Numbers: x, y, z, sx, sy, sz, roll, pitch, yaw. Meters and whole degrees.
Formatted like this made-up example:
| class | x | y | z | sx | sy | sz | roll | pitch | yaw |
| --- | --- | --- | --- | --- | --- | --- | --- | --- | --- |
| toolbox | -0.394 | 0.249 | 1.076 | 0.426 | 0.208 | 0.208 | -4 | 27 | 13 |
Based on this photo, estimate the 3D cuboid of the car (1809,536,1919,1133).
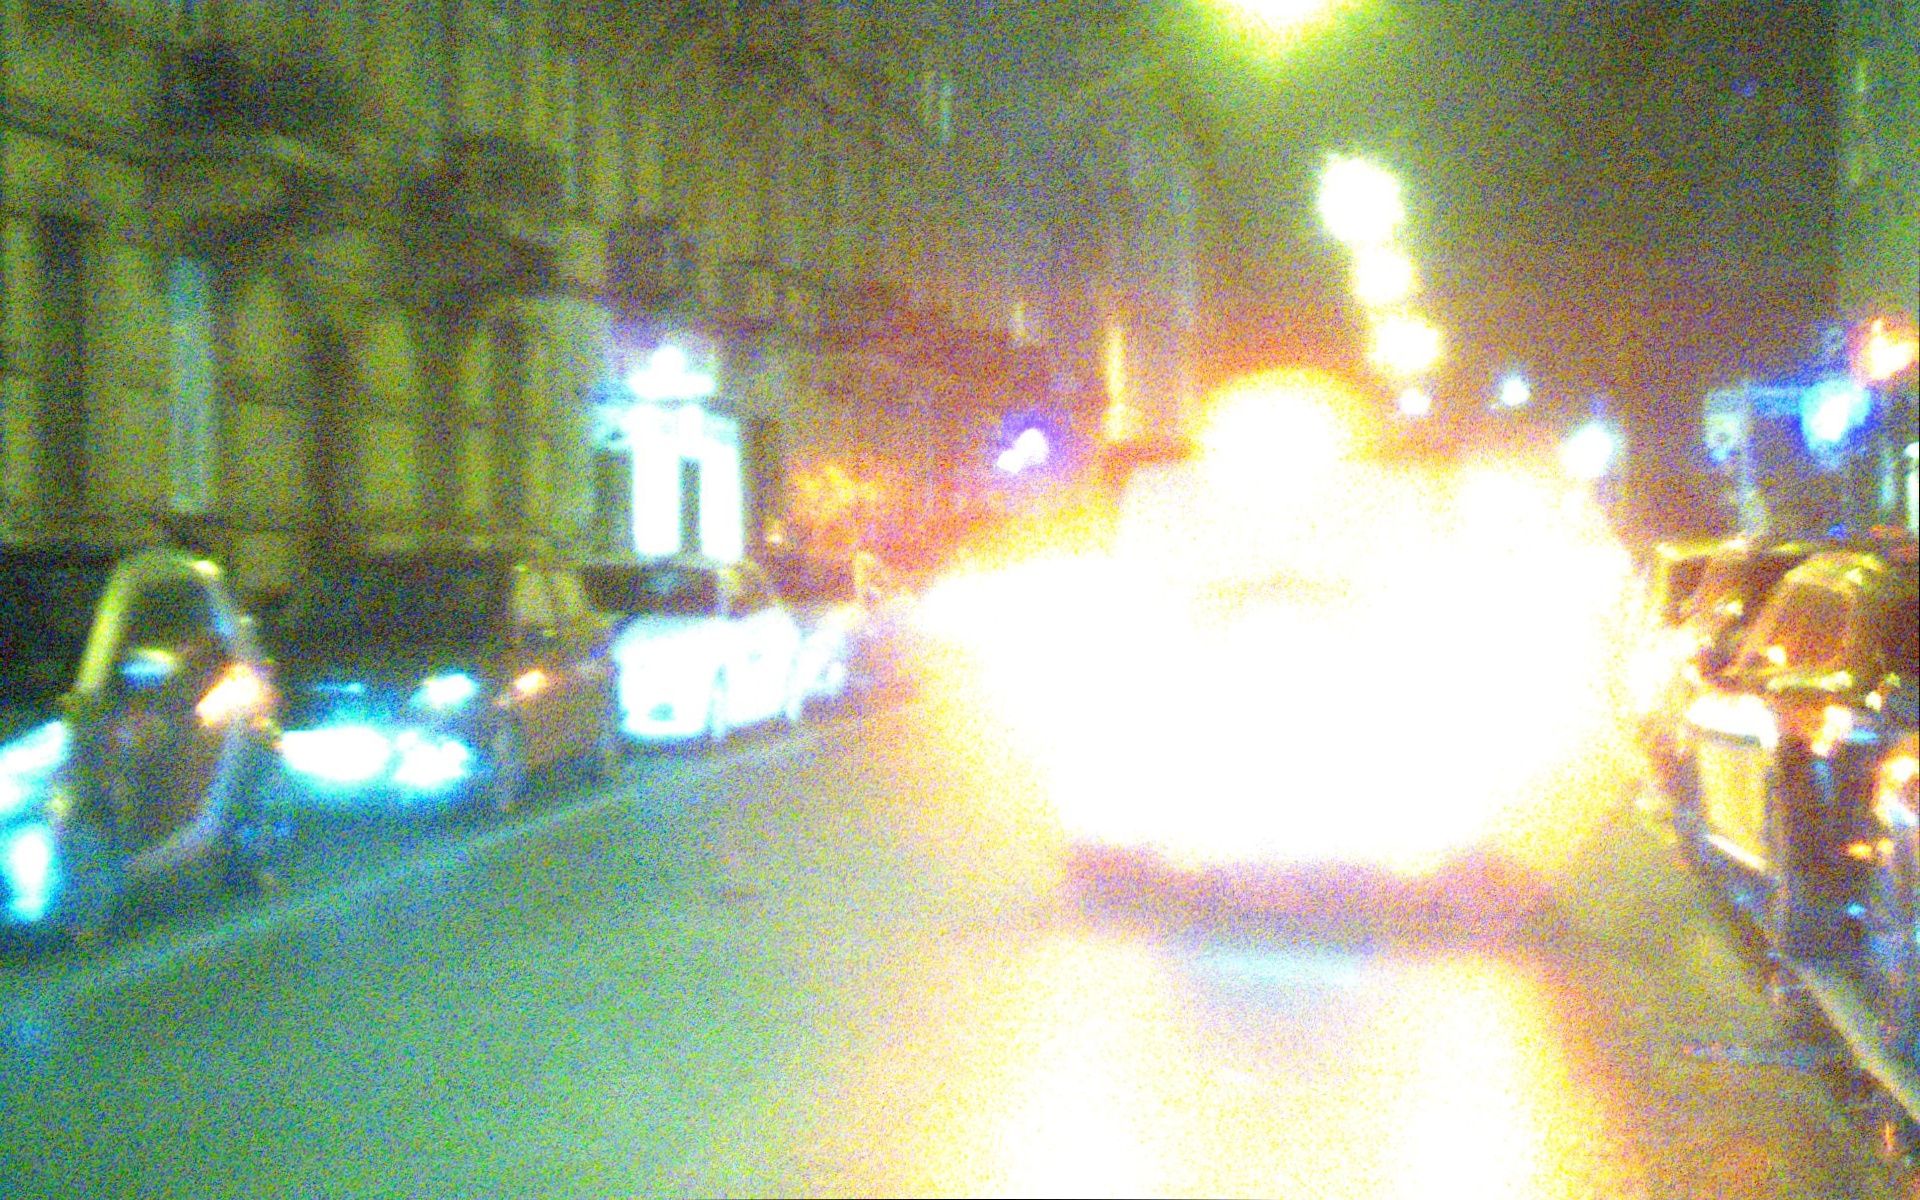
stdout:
| class | x | y | z | sx | sy | sz | roll | pitch | yaw |
| --- | --- | --- | --- | --- | --- | --- | --- | --- | --- |
| car | 3.407 | 0.617 | 9.073 | 1.753 | 1.560 | 4.153 | 0 | 1 | 7 |

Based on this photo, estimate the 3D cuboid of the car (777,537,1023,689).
| class | x | y | z | sx | sy | sz | roll | pitch | yaw |
| --- | --- | --- | --- | --- | --- | --- | --- | --- | --- |
| car | -0.558 | 0.093 | 35.734 | 1.994 | 1.444 | 3.999 | 1 | 1 | 7 |

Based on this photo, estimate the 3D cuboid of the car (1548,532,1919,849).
| class | x | y | z | sx | sy | sz | roll | pitch | yaw |
| --- | --- | --- | --- | --- | --- | --- | --- | --- | --- |
| car | 4.339 | 0.442 | 19.542 | 1.753 | 1.602 | 3.989 | 0 | 1 | 7 |

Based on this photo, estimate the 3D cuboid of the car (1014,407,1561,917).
| class | x | y | z | sx | sy | sz | roll | pitch | yaw |
| --- | --- | --- | --- | --- | --- | --- | --- | --- | --- |
| car | 1.511 | 0.193 | 15.759 | 2.123 | 1.984 | 4.600 | 0 | 1 | 6 |

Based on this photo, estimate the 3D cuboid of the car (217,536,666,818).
| class | x | y | z | sx | sy | sz | roll | pitch | yaw |
| --- | --- | --- | --- | --- | --- | --- | --- | --- | --- |
| car | -2.877 | 0.370 | 19.780 | 1.587 | 1.444 | 3.502 | 0 | 2 | 8 |

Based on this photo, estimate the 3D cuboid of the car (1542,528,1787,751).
| class | x | y | z | sx | sy | sz | roll | pitch | yaw |
| --- | --- | --- | --- | --- | --- | --- | --- | --- | --- |
| car | 5.198 | 0.257 | 25.673 | 1.592 | 1.538 | 3.419 | 0 | 1 | 8 |

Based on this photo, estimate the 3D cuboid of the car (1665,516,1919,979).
| class | x | y | z | sx | sy | sz | roll | pitch | yaw |
| --- | --- | --- | --- | --- | --- | --- | --- | --- | --- |
| car | 3.862 | 0.475 | 13.533 | 1.753 | 1.532 | 4.397 | 0 | 1 | 7 |

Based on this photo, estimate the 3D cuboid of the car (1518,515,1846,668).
| class | x | y | z | sx | sy | sz | roll | pitch | yaw |
| --- | --- | --- | --- | --- | --- | --- | --- | --- | --- |
| car | 10.034 | -0.111 | 47.932 | 3.986 | 2.007 | 2.000 | -1 | 0 | -8 |

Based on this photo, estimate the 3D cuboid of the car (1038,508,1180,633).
| class | x | y | z | sx | sy | sz | roll | pitch | yaw |
| --- | --- | --- | --- | --- | --- | --- | --- | --- | --- |
| car | 2.550 | -0.515 | 57.846 | 1.994 | 2.007 | 3.999 | 1 | 1 | 8 |

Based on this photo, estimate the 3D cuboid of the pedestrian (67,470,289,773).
| class | x | y | z | sx | sy | sz | roll | pitch | yaw |
| --- | --- | --- | --- | --- | --- | --- | --- | --- | --- |
| pedestrian | -4.955 | 0.121 | 21.823 | 1.032 | 1.858 | 0.976 | 1 | 1 | 13 |

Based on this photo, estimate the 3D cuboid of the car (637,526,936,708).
| class | x | y | z | sx | sy | sz | roll | pitch | yaw |
| --- | --- | --- | --- | --- | --- | --- | --- | --- | --- |
| car | -1.473 | 0.086 | 31.031 | 1.754 | 1.444 | 4.621 | 2 | 2 | 9 |

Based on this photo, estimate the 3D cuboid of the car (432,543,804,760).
| class | x | y | z | sx | sy | sz | roll | pitch | yaw |
| --- | --- | --- | --- | --- | --- | --- | --- | --- | --- |
| car | -2.382 | 0.304 | 25.043 | 1.691 | 1.396 | 4.315 | 0 | 2 | 8 |

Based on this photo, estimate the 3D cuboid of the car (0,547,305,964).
| class | x | y | z | sx | sy | sz | roll | pitch | yaw |
| --- | --- | --- | --- | --- | --- | --- | --- | --- | --- |
| car | -3.928 | 0.550 | 14.141 | 1.587 | 1.504 | 2.786 | 0 | 2 | 8 |

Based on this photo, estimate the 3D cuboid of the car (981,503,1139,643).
| class | x | y | z | sx | sy | sz | roll | pitch | yaw |
| --- | --- | --- | --- | --- | --- | --- | --- | --- | --- |
| car | 1.559 | -0.429 | 52.188 | 1.994 | 2.007 | 3.999 | 1 | 1 | 7 |

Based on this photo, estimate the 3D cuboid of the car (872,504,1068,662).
| class | x | y | z | sx | sy | sz | roll | pitch | yaw |
| --- | --- | --- | --- | --- | --- | --- | --- | --- | --- |
| car | 0.183 | -0.244 | 43.189 | 1.994 | 1.856 | 4.093 | 1 | 1 | 6 |

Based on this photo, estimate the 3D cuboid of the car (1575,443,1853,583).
| class | x | y | z | sx | sy | sz | roll | pitch | yaw |
| --- | --- | --- | --- | --- | --- | --- | --- | --- | --- |
| car | 11.414 | -1.318 | 52.277 | 3.988 | 2.006 | 1.999 | -1 | 2 | 9 |
